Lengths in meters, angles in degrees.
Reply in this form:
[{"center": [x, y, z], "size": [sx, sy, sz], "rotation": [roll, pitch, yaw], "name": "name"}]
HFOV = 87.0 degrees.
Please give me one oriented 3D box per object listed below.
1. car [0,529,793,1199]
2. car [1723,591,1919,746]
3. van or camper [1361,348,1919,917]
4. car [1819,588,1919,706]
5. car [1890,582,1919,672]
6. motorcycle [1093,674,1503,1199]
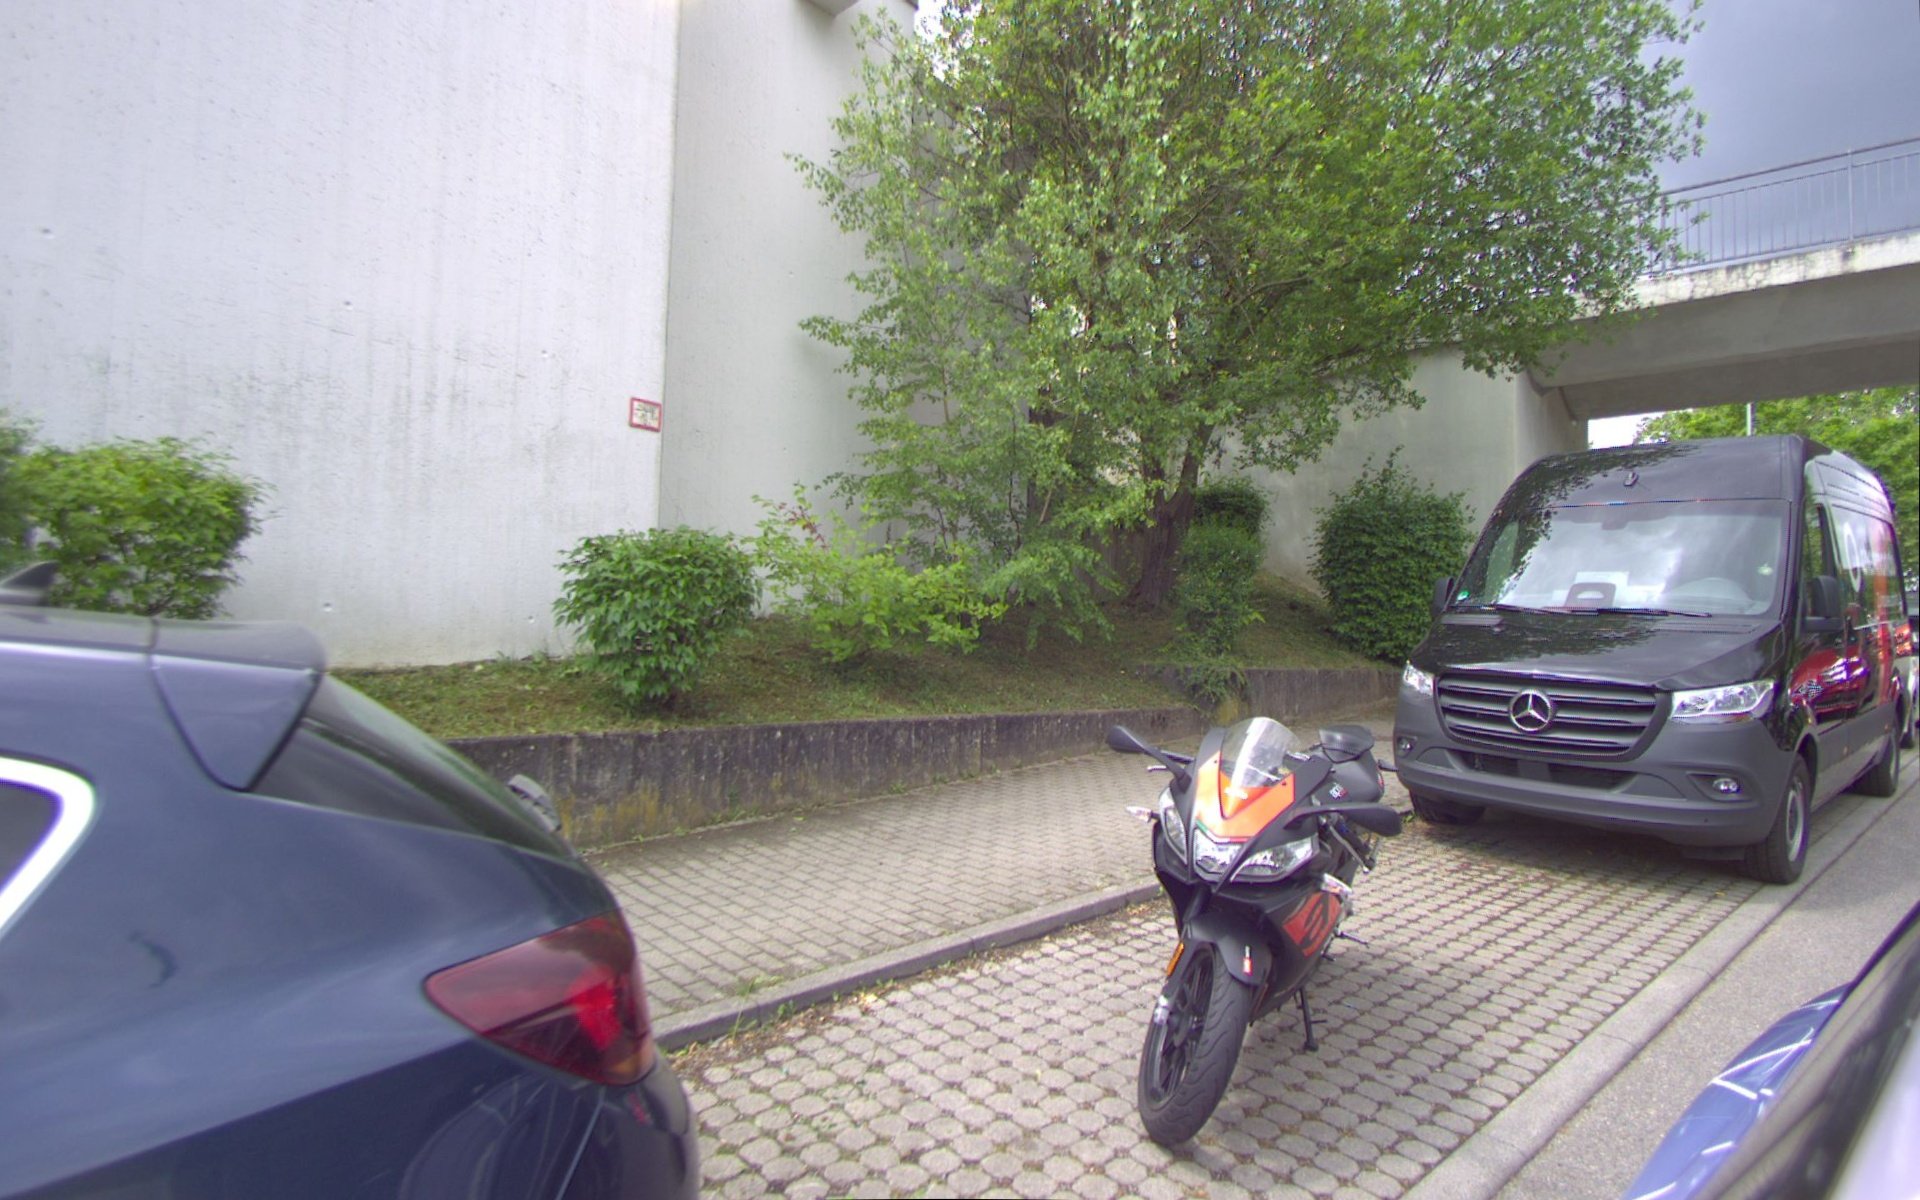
[{"center": [-2.220, 0.654, 0.563], "size": [3.932, 1.438, 1.693], "rotation": [0, 1, -43], "name": "car"}, {"center": [10.123, 0.640, 11.502], "size": [3.657, 1.468, 1.585], "rotation": [-1, 1, -41], "name": "car"}, {"center": [5.172, 0.104, 7.106], "size": [5.657, 2.526, 1.997], "rotation": [-1, 1, -41], "name": "van or camper"}, {"center": [13.633, 0.586, 14.403], "size": [3.657, 1.506, 1.603], "rotation": [-1, 1, -41], "name": "car"}, {"center": [18.260, 0.449, 18.385], "size": [3.657, 1.562, 1.603], "rotation": [-1, 1, -41], "name": "car"}, {"center": [1.210, 0.868, 3.288], "size": [0.706, 1.081, 1.905], "rotation": [0, 1, 37], "name": "motorcycle"}]
